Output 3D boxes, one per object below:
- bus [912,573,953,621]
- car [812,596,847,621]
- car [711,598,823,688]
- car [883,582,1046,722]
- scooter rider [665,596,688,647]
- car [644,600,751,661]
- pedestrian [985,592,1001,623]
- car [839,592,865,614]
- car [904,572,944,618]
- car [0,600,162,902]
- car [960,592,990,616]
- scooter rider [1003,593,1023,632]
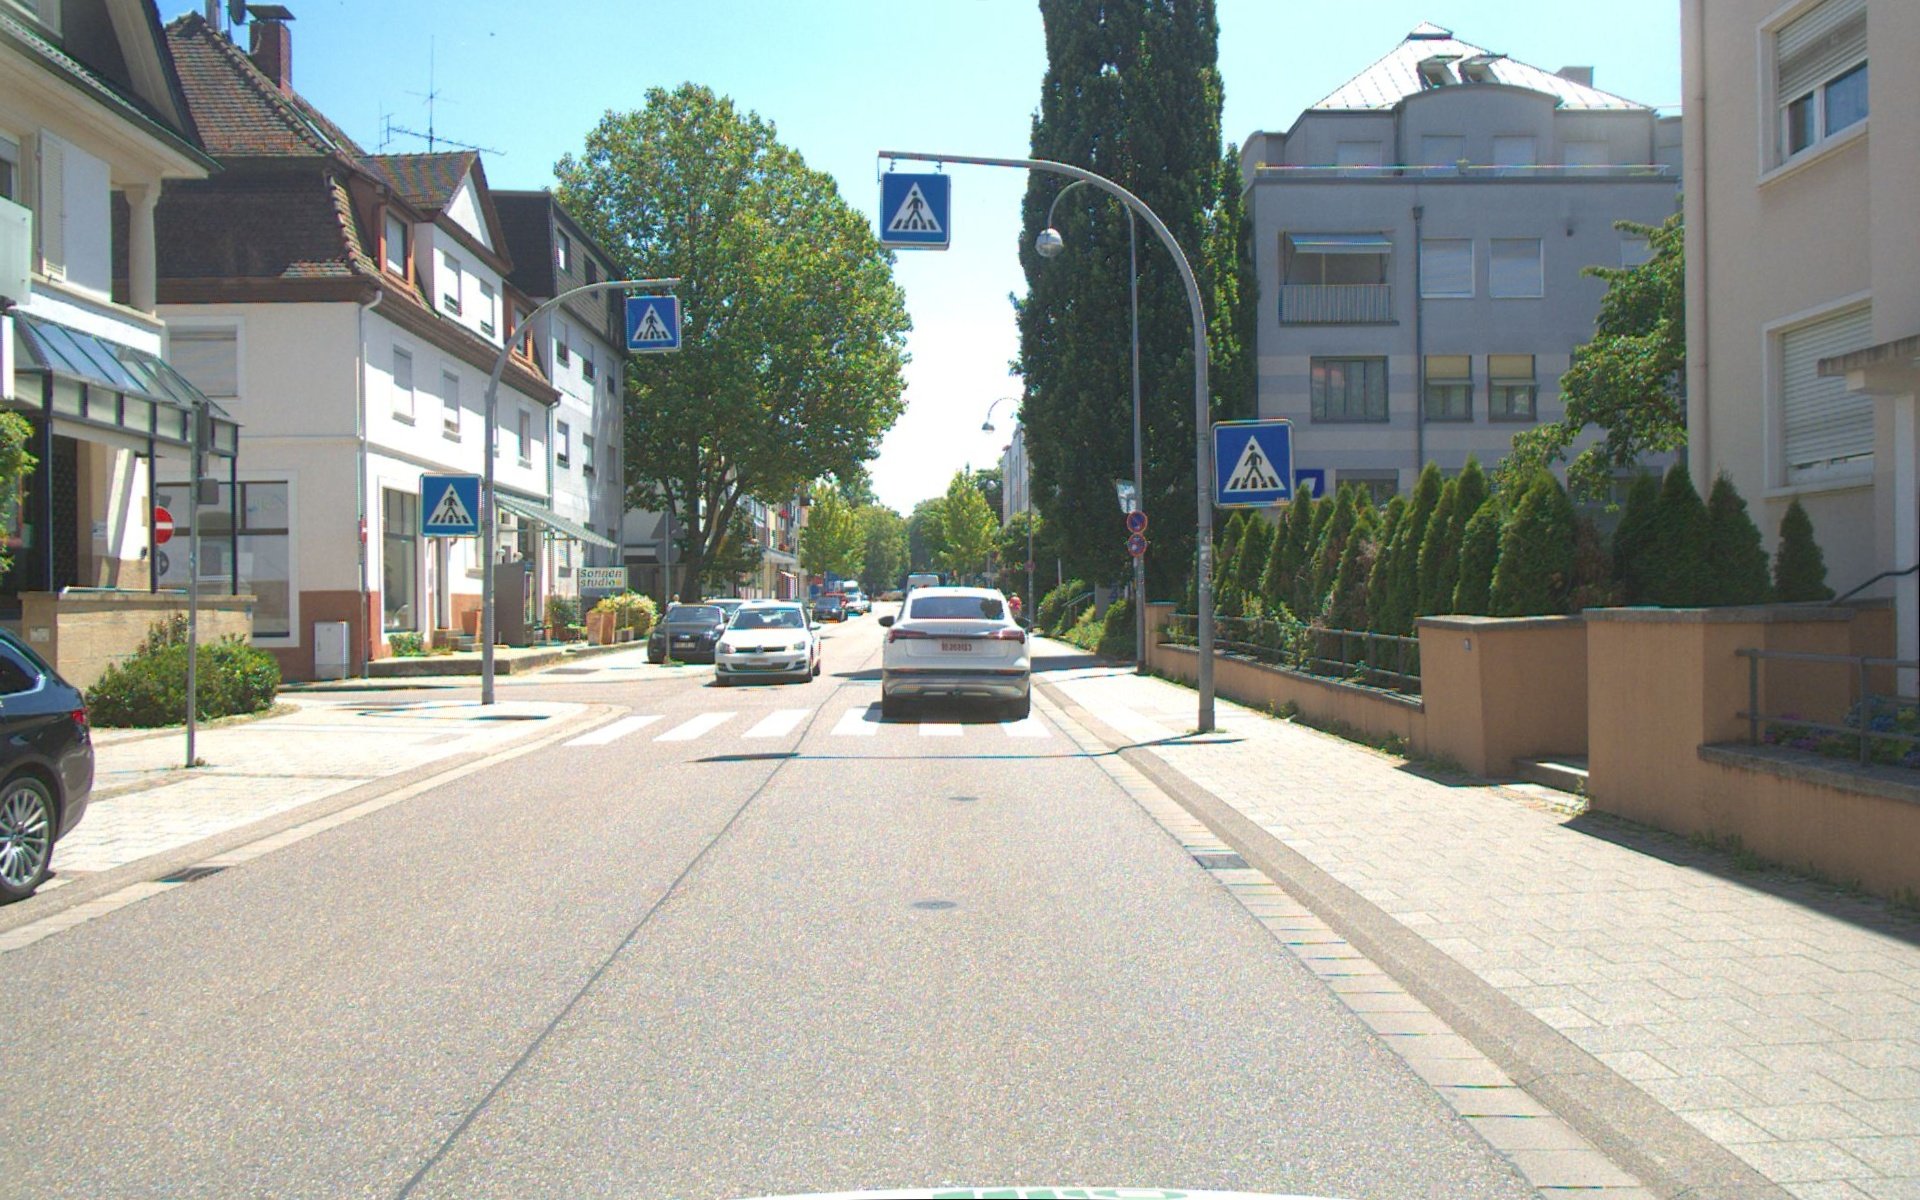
[{"bbox_3d":[-1.898,-0.168,118.279,2.606,3.278,7.302,1,0,1],"label":"bus"},{"bbox_3d":[-7.847,0.506,99.739,1.858,1.442,5.046,1,0,-2],"label":"car"},{"bbox_3d":[-3.546,0.755,30.954,1.772,1.508,3.867,-2,0,-3],"label":"car"},{"bbox_3d":[-0.026,0.621,21.919,1.953,1.661,3.998,1,0,-2],"label":"car"},{"bbox_3d":[-9.147,0.691,53.405,0.576,1.603,0.877,1,0,0],"label":"scooter rider"},{"bbox_3d":[-6.424,0.705,41.006,1.903,1.397,5.097,0,0,-1],"label":"car"},{"bbox_3d":[1.799,0.398,90.023,0.686,1.655,0.783,-4,0,-3],"label":"pedestrian"},{"bbox_3d":[-8.451,0.229,129.512,1.716,1.646,4.400,1,0,0],"label":"car"},{"bbox_3d":[-1.999,-0.256,92.507,2.112,2.484,5.282,1,0,-1],"label":"car"},{"bbox_3d":[-5.702,0.740,7.286,1.877,1.477,5.148,2,0,-1],"label":"car"},{"bbox_3d":[0.981,0.223,107.151,1.857,1.463,4.544,-1,0,0],"label":"car"},{"bbox_3d":[2.210,0.526,68.659,0.701,1.575,0.770,-2,0,-3],"label":"scooter rider"}]
